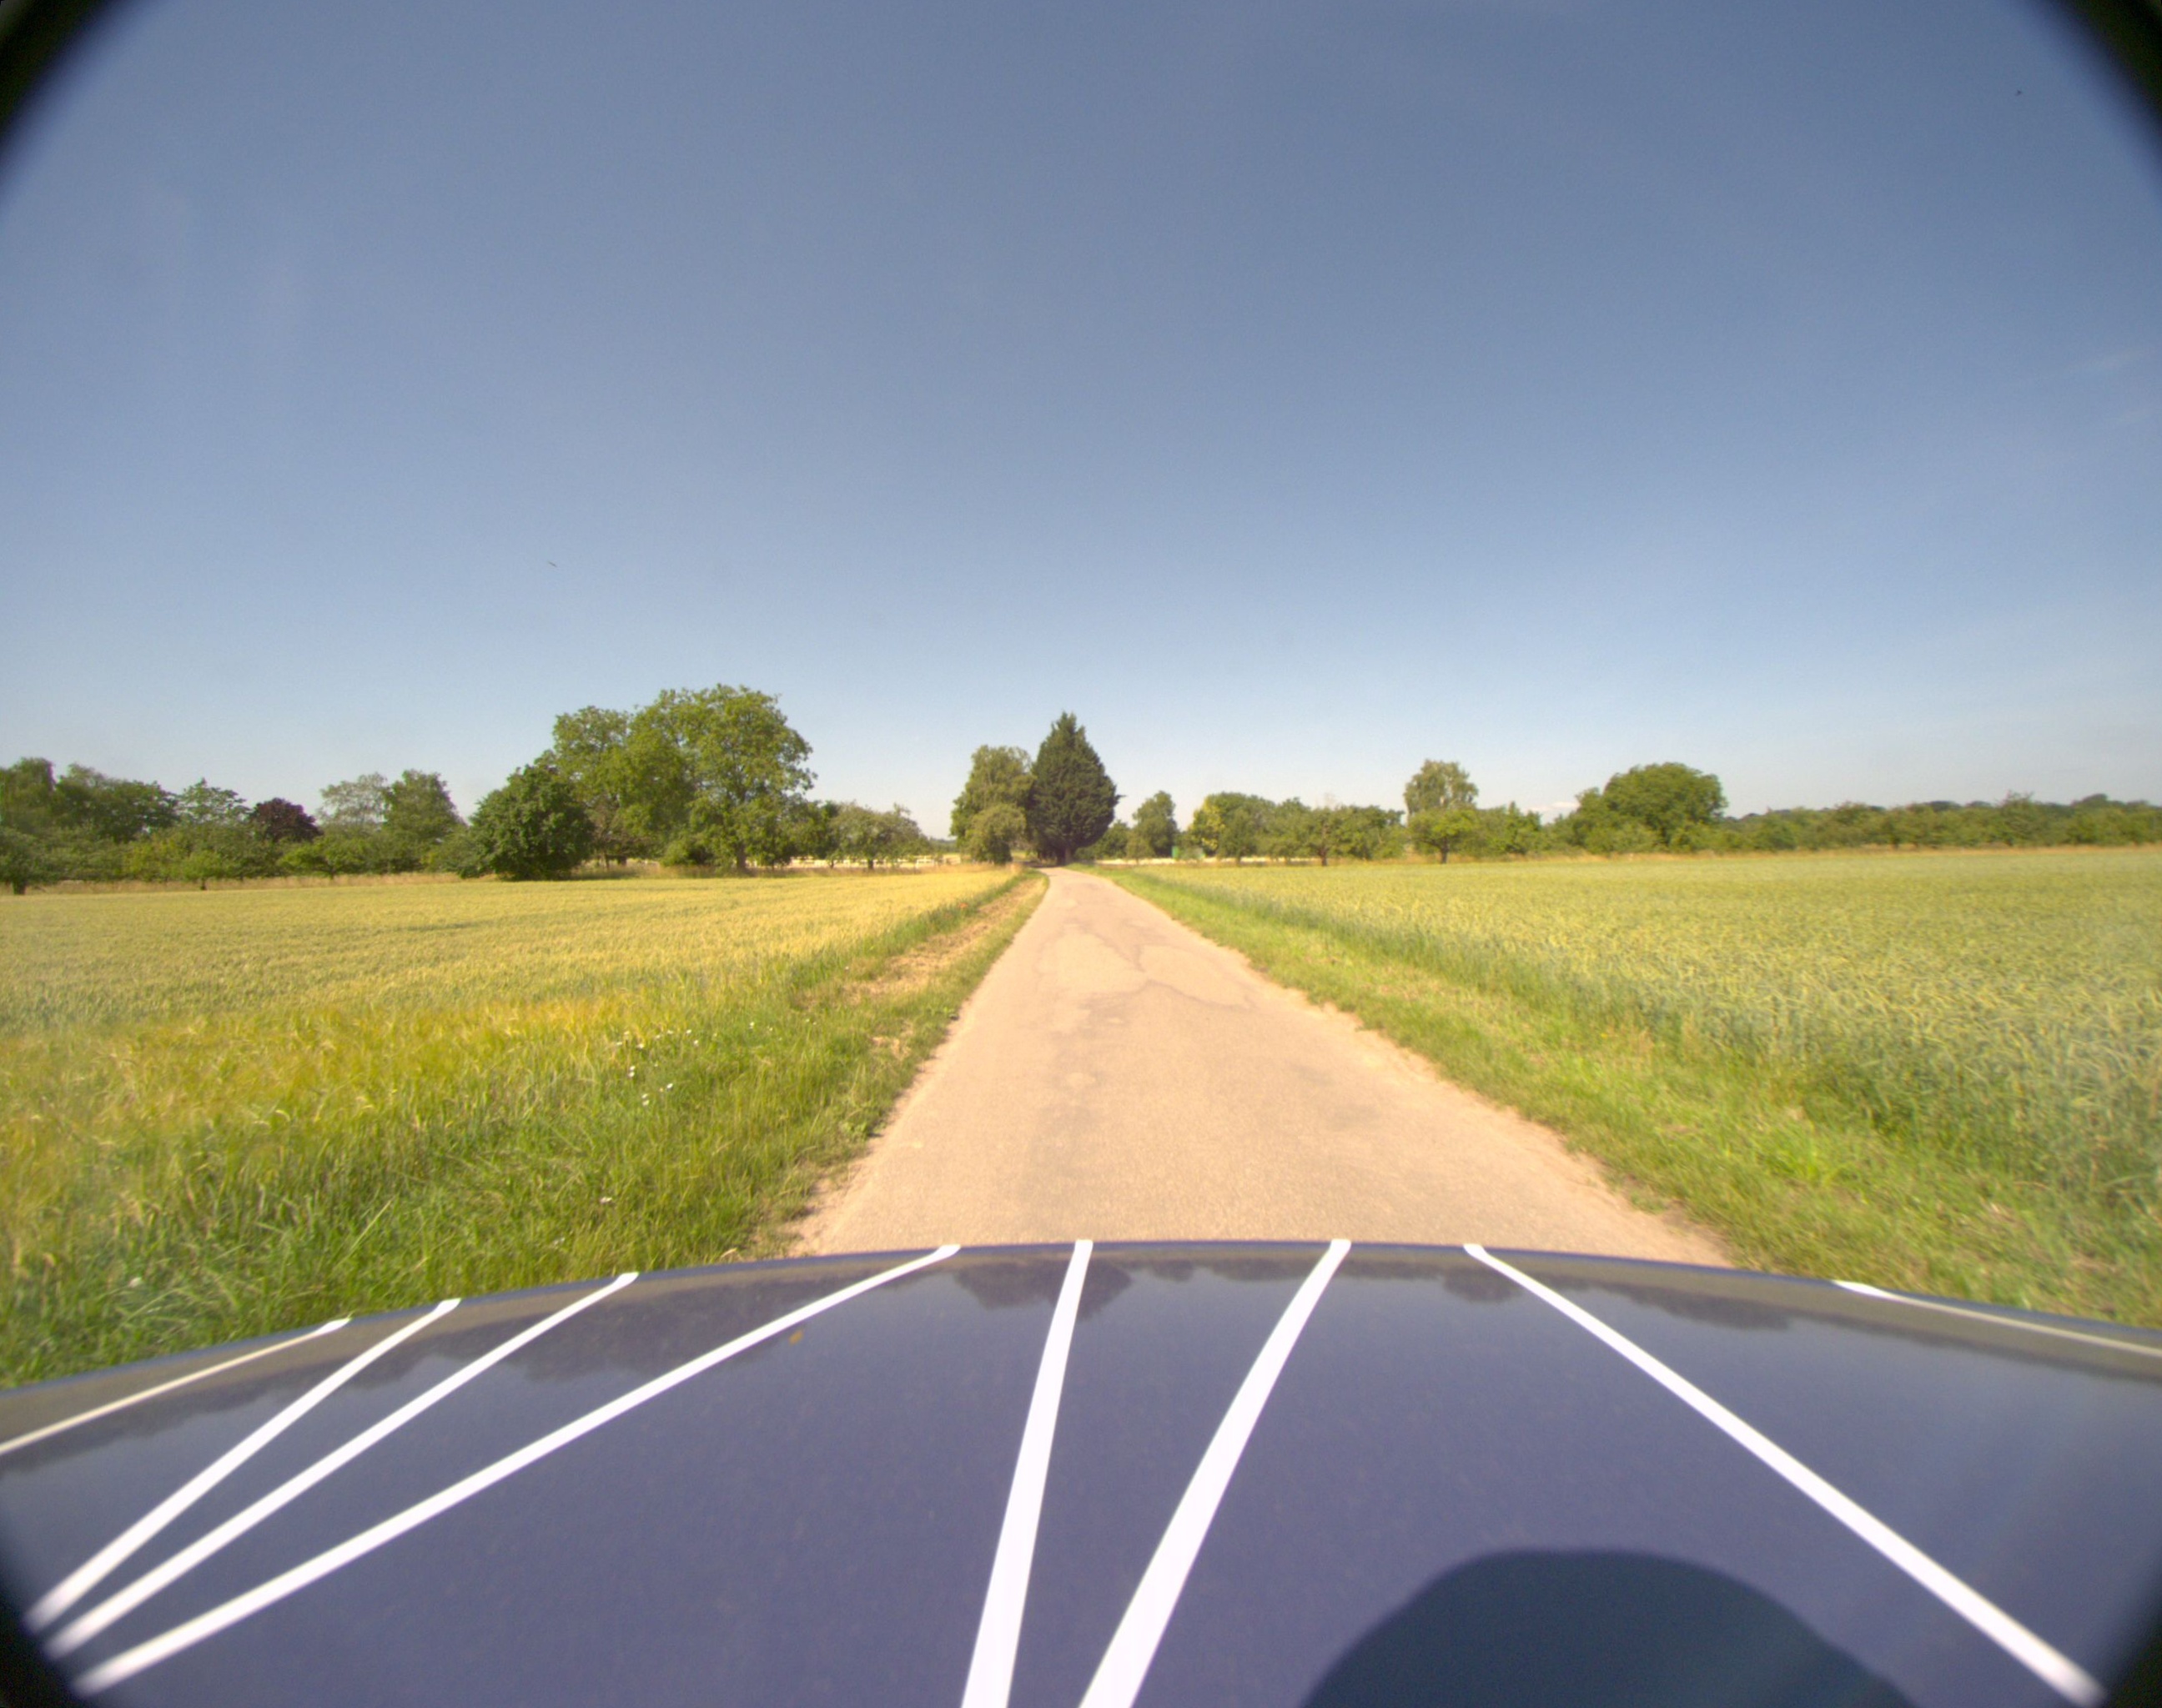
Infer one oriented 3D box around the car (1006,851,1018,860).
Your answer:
[{"bbox_3d":[-11.439,0.250,125.374,1.723,1.312,3.740,-1,1,-9],"label":"car"}]
